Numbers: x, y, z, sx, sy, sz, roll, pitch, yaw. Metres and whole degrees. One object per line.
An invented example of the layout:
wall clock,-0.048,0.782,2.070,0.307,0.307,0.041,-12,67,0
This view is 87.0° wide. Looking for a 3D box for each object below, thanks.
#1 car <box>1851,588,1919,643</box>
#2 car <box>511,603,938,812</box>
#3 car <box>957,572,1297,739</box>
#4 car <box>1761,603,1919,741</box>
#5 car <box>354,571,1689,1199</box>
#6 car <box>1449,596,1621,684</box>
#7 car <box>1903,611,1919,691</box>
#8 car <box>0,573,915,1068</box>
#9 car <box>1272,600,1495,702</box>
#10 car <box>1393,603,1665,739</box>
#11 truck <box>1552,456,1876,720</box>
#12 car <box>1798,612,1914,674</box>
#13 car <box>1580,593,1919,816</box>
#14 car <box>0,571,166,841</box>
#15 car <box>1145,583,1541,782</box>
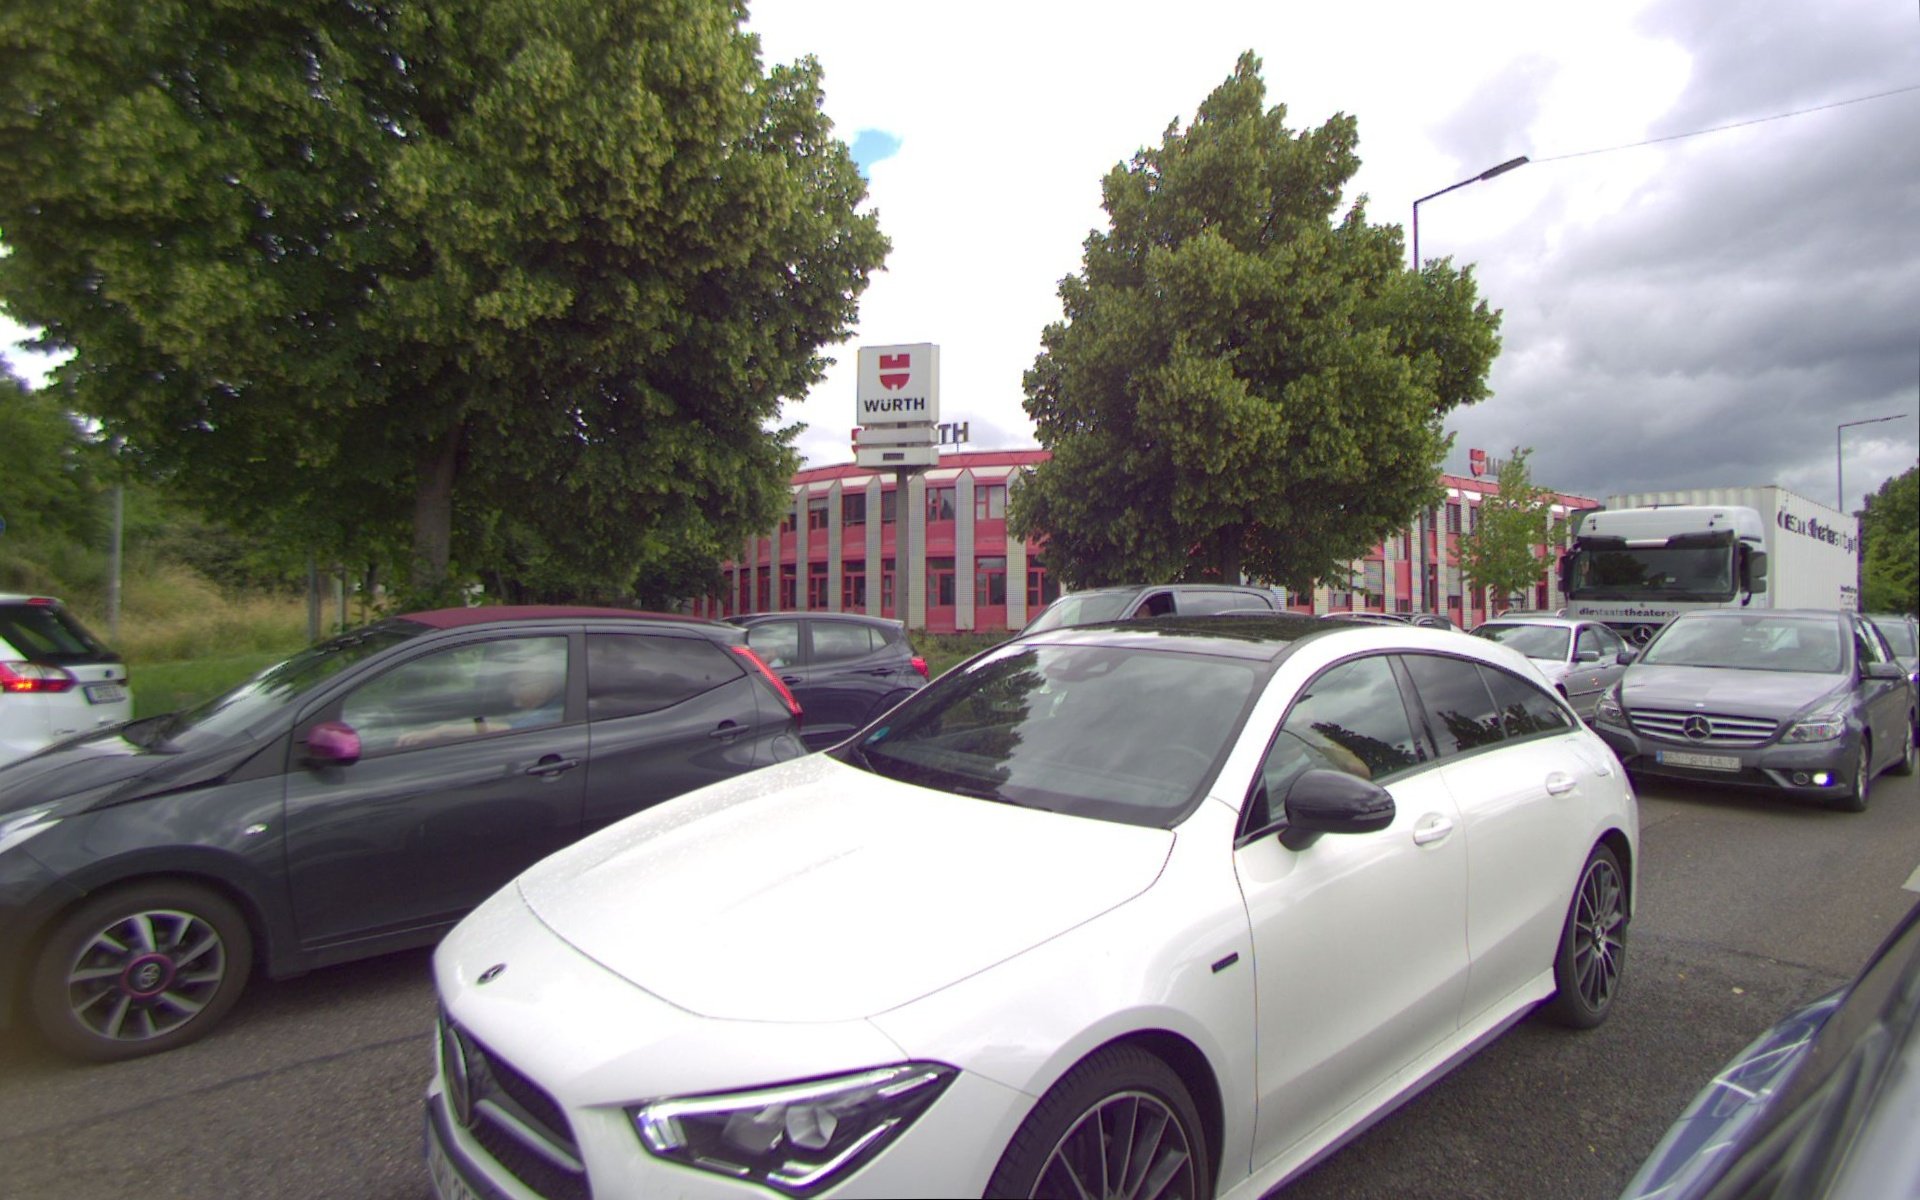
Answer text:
car,28.842,0.428,30.802,4.140,1.549,1.798,-1,0,-37
car,-2.101,0.815,9.311,3.495,1.525,1.608,-1,0,-34
car,2.283,0.570,13.043,4.592,1.797,1.762,-1,0,-40
car,11.622,0.823,12.842,3.769,1.512,1.627,1,-1,-41
car,0.689,0.700,3.397,4.451,1.525,1.848,-1,1,-40
car,12.261,0.827,21.488,4.133,1.679,1.863,1,-3,-41
car,20.183,1.008,20.009,3.431,1.525,1.825,1,-1,-39
car,-2.186,0.635,4.716,3.815,1.471,1.615,-1,0,-42
car,7.277,0.817,17.228,4.034,1.536,1.842,0,-4,-41
car,7.421,0.777,13.030,4.215,1.400,1.749,-1,1,-41
truck,14.835,-0.164,19.452,10.000,3.953,2.808,0,0,-40
car,24.340,1.122,27.450,4.299,1.549,1.850,1,-1,-41
car,7.148,0.744,8.932,3.976,1.527,1.749,1,-1,-41
car,-8.041,0.668,6.487,4.277,1.676,1.767,0,-1,-20
car,3.843,0.685,9.766,4.279,1.504,1.749,2,-1,-41
